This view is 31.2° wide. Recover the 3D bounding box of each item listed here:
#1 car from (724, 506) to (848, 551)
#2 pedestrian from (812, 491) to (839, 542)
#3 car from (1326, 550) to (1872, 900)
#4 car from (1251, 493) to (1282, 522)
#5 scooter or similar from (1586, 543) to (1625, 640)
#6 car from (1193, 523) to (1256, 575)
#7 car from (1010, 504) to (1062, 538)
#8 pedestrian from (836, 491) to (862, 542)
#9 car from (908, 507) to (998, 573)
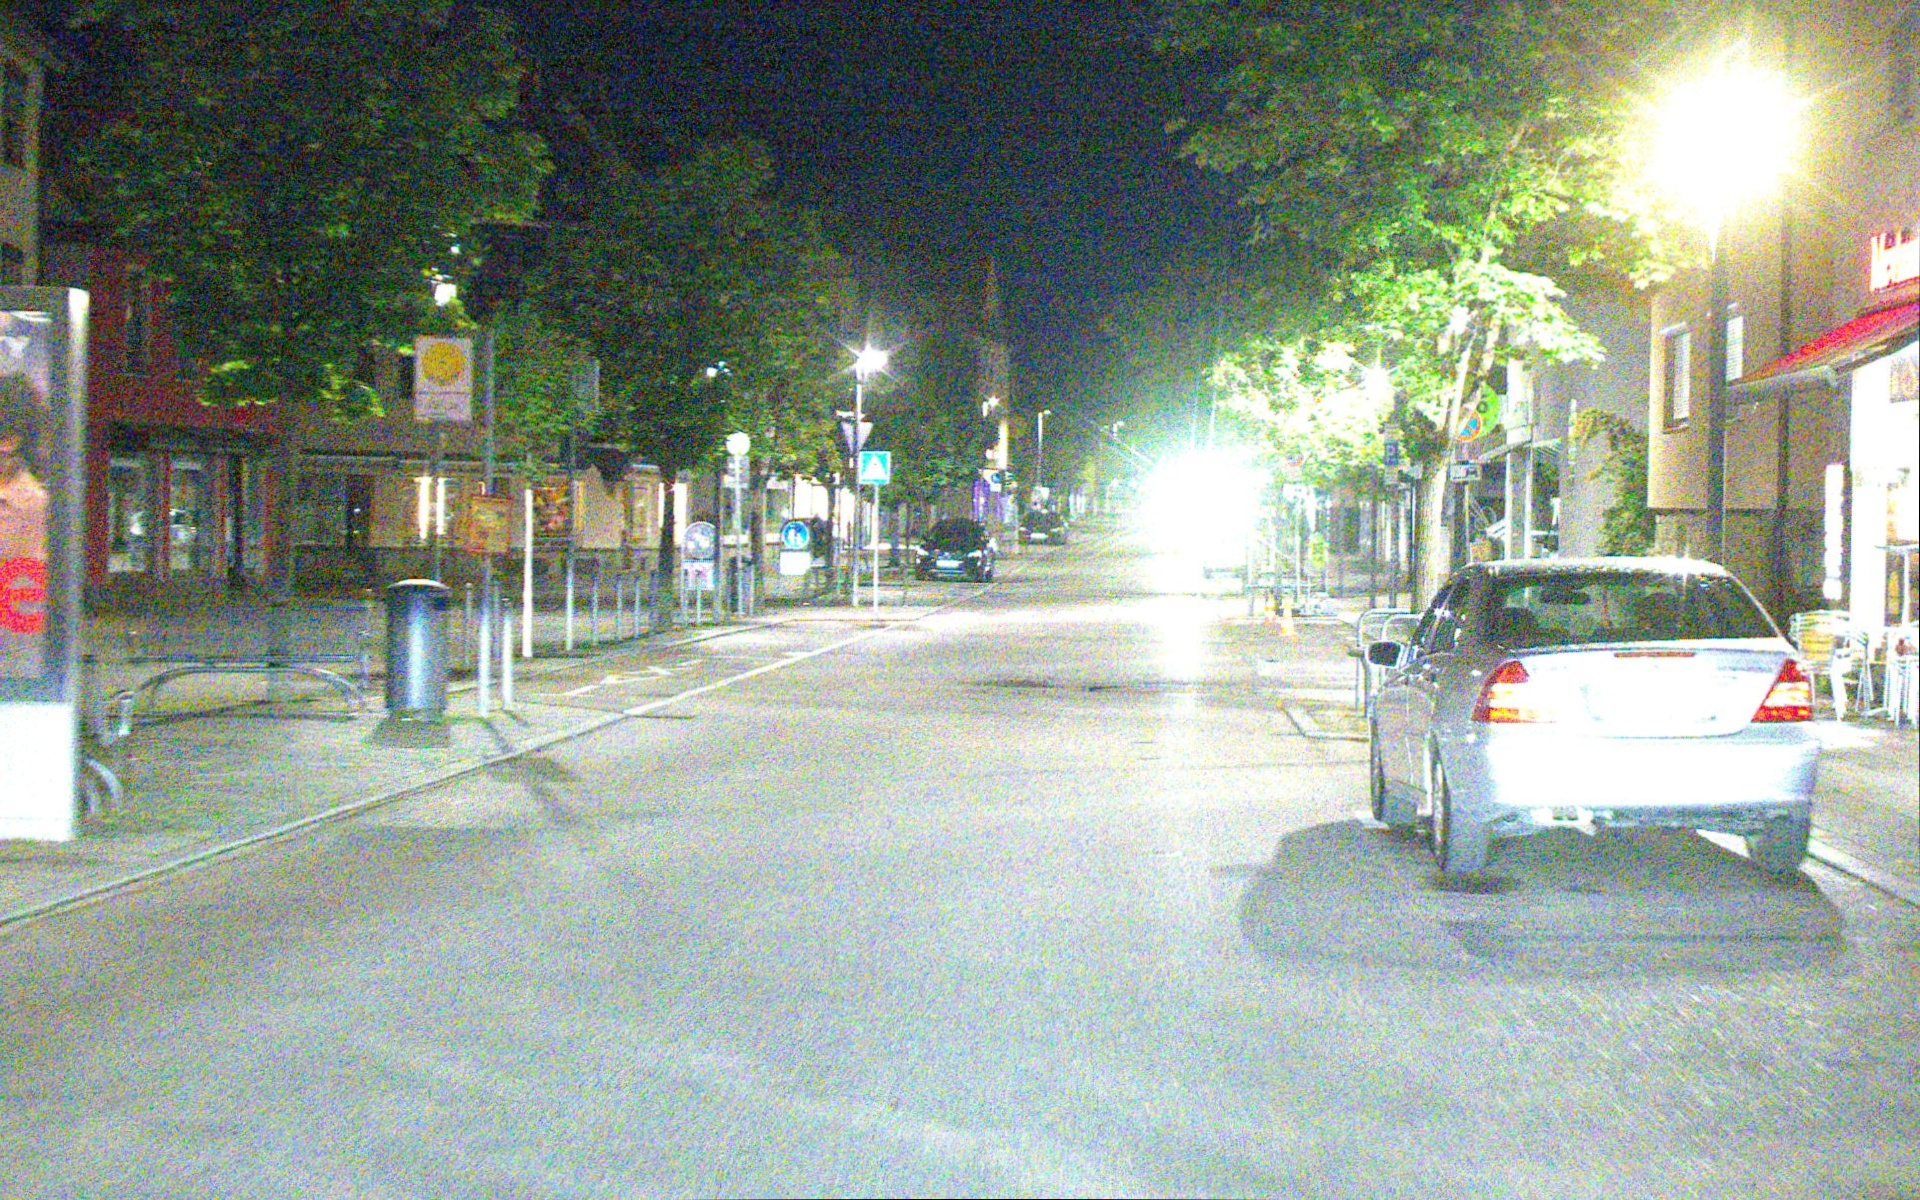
[{"bbox_3d":[-6.333,-2.616,125.335,4.168,1.433,1.840,-2,1,8],"label":"car"},{"bbox_3d":[-4.423,-2.744,113.029,0.769,1.650,0.817,0,3,5],"label":"pedestrian"},{"bbox_3d":[2.962,0.502,16.891,1.734,1.436,4.497,0,1,-1],"label":"car"},{"bbox_3d":[17.921,-5.390,200.963,1.776,1.646,4.363,0,2,5],"label":"car"},{"bbox_3d":[8.579,-0.111,45.689,0.373,1.272,1.305,0,0,5],"label":"scooter or similar"},{"bbox_3d":[7.640,-1.493,99.492,1.674,1.454,3.676,0,2,2],"label":"car"},{"bbox_3d":[3.297,-3.419,148.495,1.915,1.366,4.457,0,2,6],"label":"car"},{"bbox_3d":[-3.654,-2.741,112.927,0.769,1.650,0.782,0,3,5],"label":"pedestrian"},{"bbox_3d":[-0.155,-1.667,94.599,2.018,1.685,5.002,2,2,5],"label":"car"}]
